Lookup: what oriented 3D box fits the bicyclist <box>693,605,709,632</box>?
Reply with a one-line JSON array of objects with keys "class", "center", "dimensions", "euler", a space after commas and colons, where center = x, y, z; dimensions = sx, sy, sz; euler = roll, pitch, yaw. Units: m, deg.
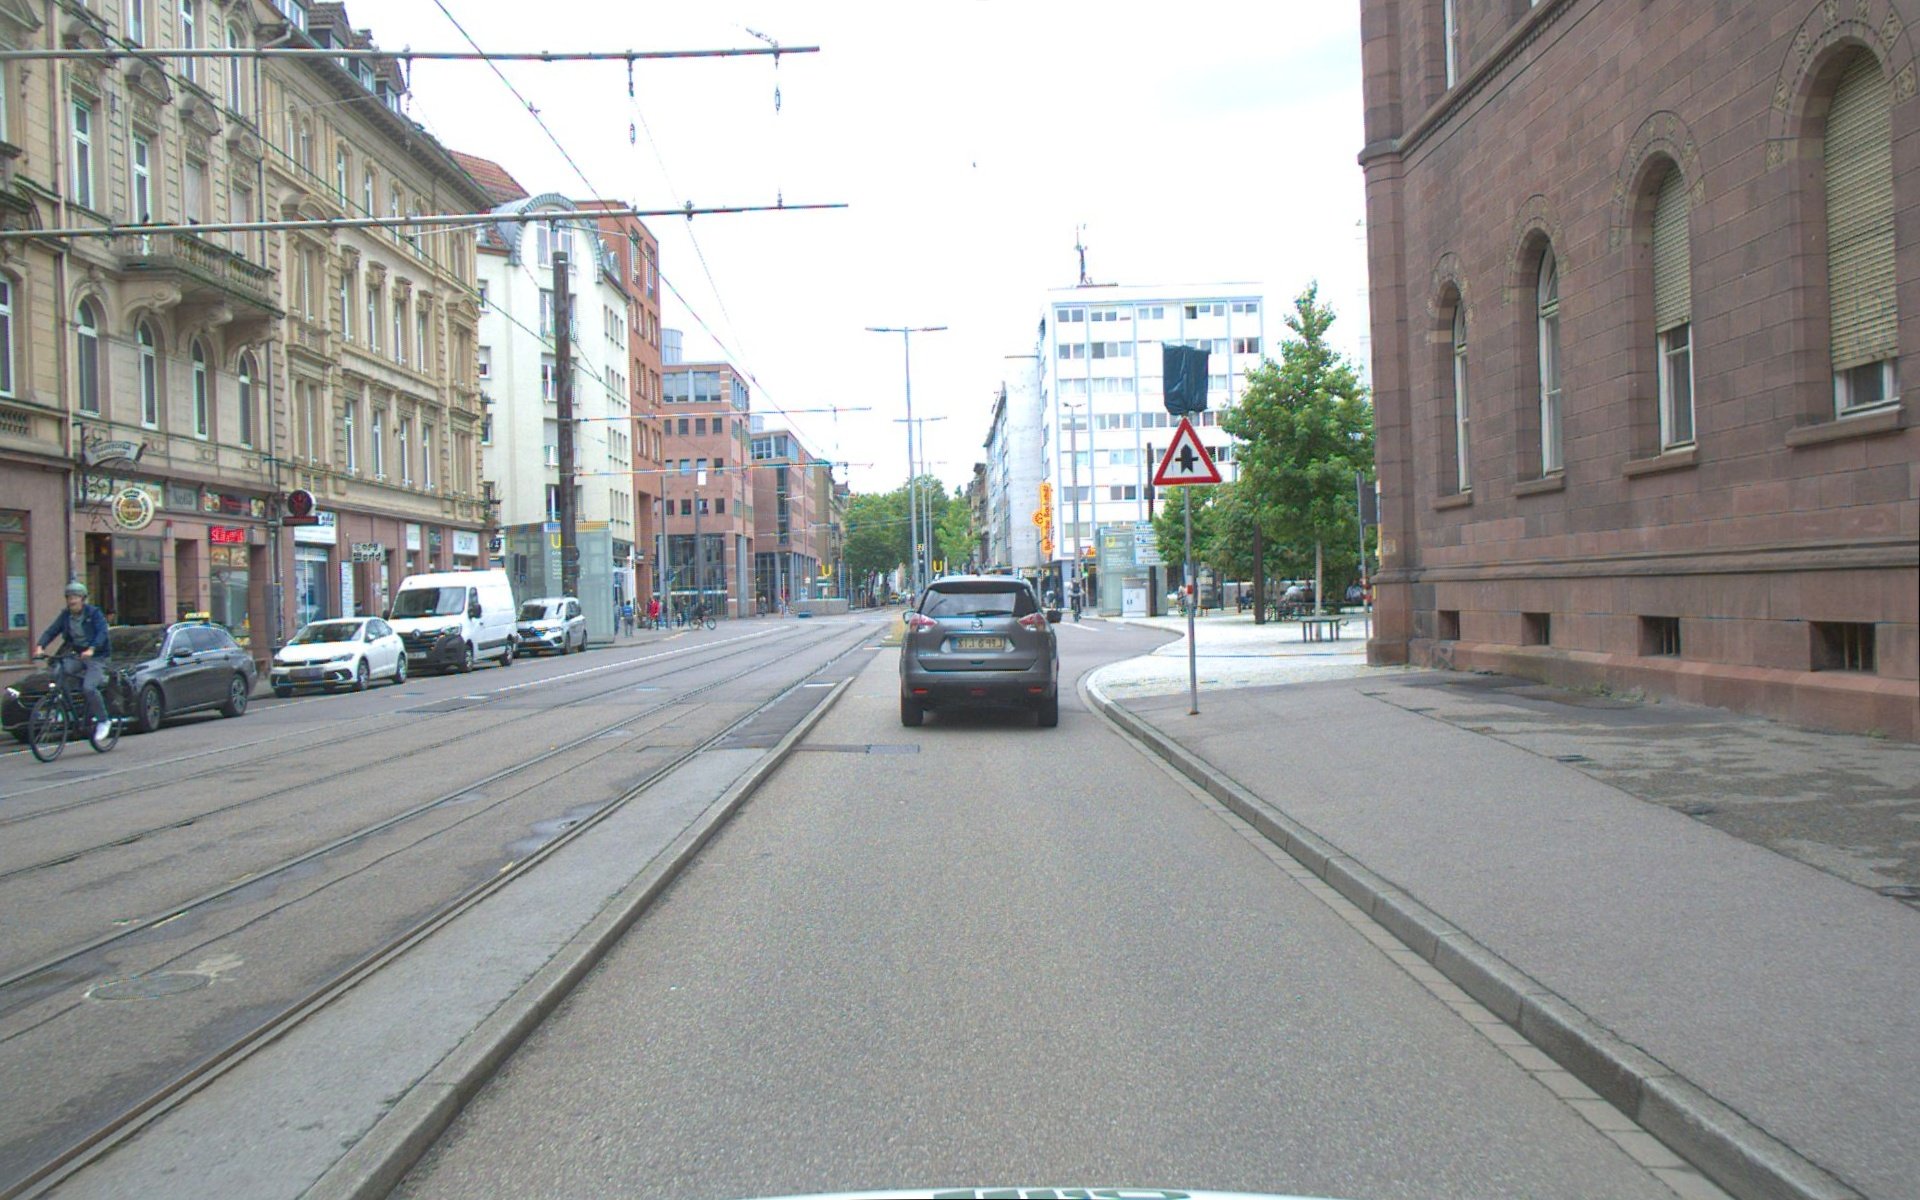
[{"class": "bicyclist", "center": [-14.063, 1.015, 89.807], "dimensions": [0.794, 1.431, 0.479], "euler": [-2, 0, -8]}]

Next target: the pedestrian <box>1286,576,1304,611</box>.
[{"class": "pedestrian", "center": [13.495, -0.250, 66.702], "dimensions": [0.614, 1.390, 0.920], "euler": [-1, 0, 16]}]

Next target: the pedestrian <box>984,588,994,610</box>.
[{"class": "pedestrian", "center": [2.402, -0.051, 136.377], "dimensions": [0.718, 1.776, 0.662], "euler": [-1, 0, -9]}]

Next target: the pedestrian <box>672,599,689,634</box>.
[{"class": "pedestrian", "center": [-15.747, 0.939, 93.191], "dimensions": [0.879, 1.923, 0.798], "euler": [-1, -1, -3]}]

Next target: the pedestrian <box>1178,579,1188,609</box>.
[{"class": "pedestrian", "center": [11.734, -0.298, 87.137], "dimensions": [0.424, 1.583, 0.499], "euler": [-1, 0, -1]}]

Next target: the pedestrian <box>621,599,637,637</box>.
[{"class": "pedestrian", "center": [-15.482, 0.842, 77.305], "dimensions": [0.648, 1.716, 0.721], "euler": [-2, -2, -10]}]

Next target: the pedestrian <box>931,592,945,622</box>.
[{"class": "pedestrian", "center": [-1.282, 0.384, 95.519], "dimensions": [0.729, 1.713, 0.798], "euler": [0, -1, -5]}]

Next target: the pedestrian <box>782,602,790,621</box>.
[{"class": "pedestrian", "center": [-17.523, 1.130, 166.651], "dimensions": [0.685, 1.874, 0.735], "euler": [-1, 0, 7]}]

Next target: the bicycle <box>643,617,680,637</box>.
[{"class": "bicycle", "center": [-16.472, 1.500, 91.283], "dimensions": [1.867, 1.039, 0.478], "euler": [-3, 0, 1]}]

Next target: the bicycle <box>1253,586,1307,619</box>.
[{"class": "bicycle", "center": [11.362, 0.081, 58.743], "dimensions": [1.873, 1.142, 0.646], "euler": [-1, 0, 10]}]

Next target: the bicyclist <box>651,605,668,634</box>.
[{"class": "bicyclist", "center": [-16.582, 1.088, 91.242], "dimensions": [0.793, 1.567, 0.493], "euler": [-3, 0, 1]}]

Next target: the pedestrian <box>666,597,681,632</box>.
[{"class": "pedestrian", "center": [-14.474, 0.726, 83.518], "dimensions": [0.649, 1.716, 0.720], "euler": [-2, -2, -13]}]

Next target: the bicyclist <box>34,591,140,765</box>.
[{"class": "bicyclist", "center": [-9.924, 0.862, 18.836], "dimensions": [0.632, 1.916, 1.028], "euler": [-1, 0, 0]}]

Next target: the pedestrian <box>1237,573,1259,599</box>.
[{"class": "pedestrian", "center": [15.252, -0.743, 87.592], "dimensions": [1.022, 1.319, 0.733], "euler": [-4, -1, 4]}]

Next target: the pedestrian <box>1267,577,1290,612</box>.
[{"class": "pedestrian", "center": [12.811, -0.221, 66.544], "dimensions": [0.618, 1.390, 0.684], "euler": [-1, 0, -20]}]

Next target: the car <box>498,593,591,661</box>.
[{"class": "car", "center": [-13.012, 0.818, 52.029], "dimensions": [1.865, 1.897, 4.518], "euler": [-4, 0, -3]}]

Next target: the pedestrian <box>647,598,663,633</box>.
[{"class": "pedestrian", "center": [-15.357, 0.789, 83.175], "dimensions": [0.708, 1.716, 0.660], "euler": [-2, -2, -12]}]

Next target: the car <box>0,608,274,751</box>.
[{"class": "car", "center": [-11.980, 1.054, 24.151], "dimensions": [1.881, 1.718, 5.050], "euler": [-4, 0, -2]}]

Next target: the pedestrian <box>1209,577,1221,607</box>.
[{"class": "pedestrian", "center": [15.123, -0.461, 98.119], "dimensions": [0.657, 1.792, 0.642], "euler": [-1, 0, 14]}]

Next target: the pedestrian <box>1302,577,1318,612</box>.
[{"class": "pedestrian", "center": [14.167, -0.237, 66.933], "dimensions": [0.531, 1.390, 1.281], "euler": [-1, 0, 16]}]

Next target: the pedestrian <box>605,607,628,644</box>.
[{"class": "pedestrian", "center": [-16.328, 1.223, 78.556], "dimensions": [0.705, 1.716, 0.825], "euler": [-3, -2, 17]}]

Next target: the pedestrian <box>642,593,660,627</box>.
[{"class": "pedestrian", "center": [-16.234, 0.510, 86.868], "dimensions": [0.854, 1.716, 0.659], "euler": [-2, -2, -16]}]

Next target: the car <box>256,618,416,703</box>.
[{"class": "car", "center": [-12.631, 1.174, 33.733], "dimensions": [1.736, 1.447, 4.163], "euler": [-4, 0, -3]}]

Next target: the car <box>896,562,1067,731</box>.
[{"class": "car", "center": [0.212, 0.458, 20.089], "dimensions": [1.825, 1.805, 4.567], "euler": [-1, 1, -1]}]

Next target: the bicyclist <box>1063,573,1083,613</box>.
[{"class": "bicyclist", "center": [5.190, -0.318, 75.996], "dimensions": [0.817, 1.844, 0.878], "euler": [-1, 0, 1]}]

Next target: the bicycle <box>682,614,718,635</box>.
[{"class": "bicycle", "center": [-14.122, 1.325, 89.800], "dimensions": [1.870, 1.039, 0.480], "euler": [-3, 0, -9]}]

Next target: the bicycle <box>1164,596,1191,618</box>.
[{"class": "bicycle", "center": [10.119, 0.319, 76.999], "dimensions": [0.645, 0.995, 1.752], "euler": [-3, 0, 27]}]

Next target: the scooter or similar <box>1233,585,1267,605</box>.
[{"class": "scooter or similar", "center": [15.397, -0.267, 87.800], "dimensions": [1.561, 0.965, 0.722], "euler": [-4, -1, 37]}]

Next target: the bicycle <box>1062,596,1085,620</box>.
[{"class": "bicycle", "center": [5.209, 0.355, 76.166], "dimensions": [0.883, 1.063, 3.278], "euler": [-2, 0, 1]}]

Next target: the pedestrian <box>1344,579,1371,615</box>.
[{"class": "pedestrian", "center": [15.278, -0.113, 63.583], "dimensions": [0.615, 1.390, 1.409], "euler": [-1, 0, -2]}]

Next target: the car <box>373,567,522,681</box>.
[{"class": "car", "center": [-12.789, 0.573, 41.705], "dimensions": [2.012, 2.529, 5.663], "euler": [-4, 0, -2]}]

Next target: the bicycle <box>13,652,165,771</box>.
[{"class": "bicycle", "center": [-9.927, 1.241, 18.932], "dimensions": [0.573, 1.194, 2.045], "euler": [-4, 0, 0]}]
